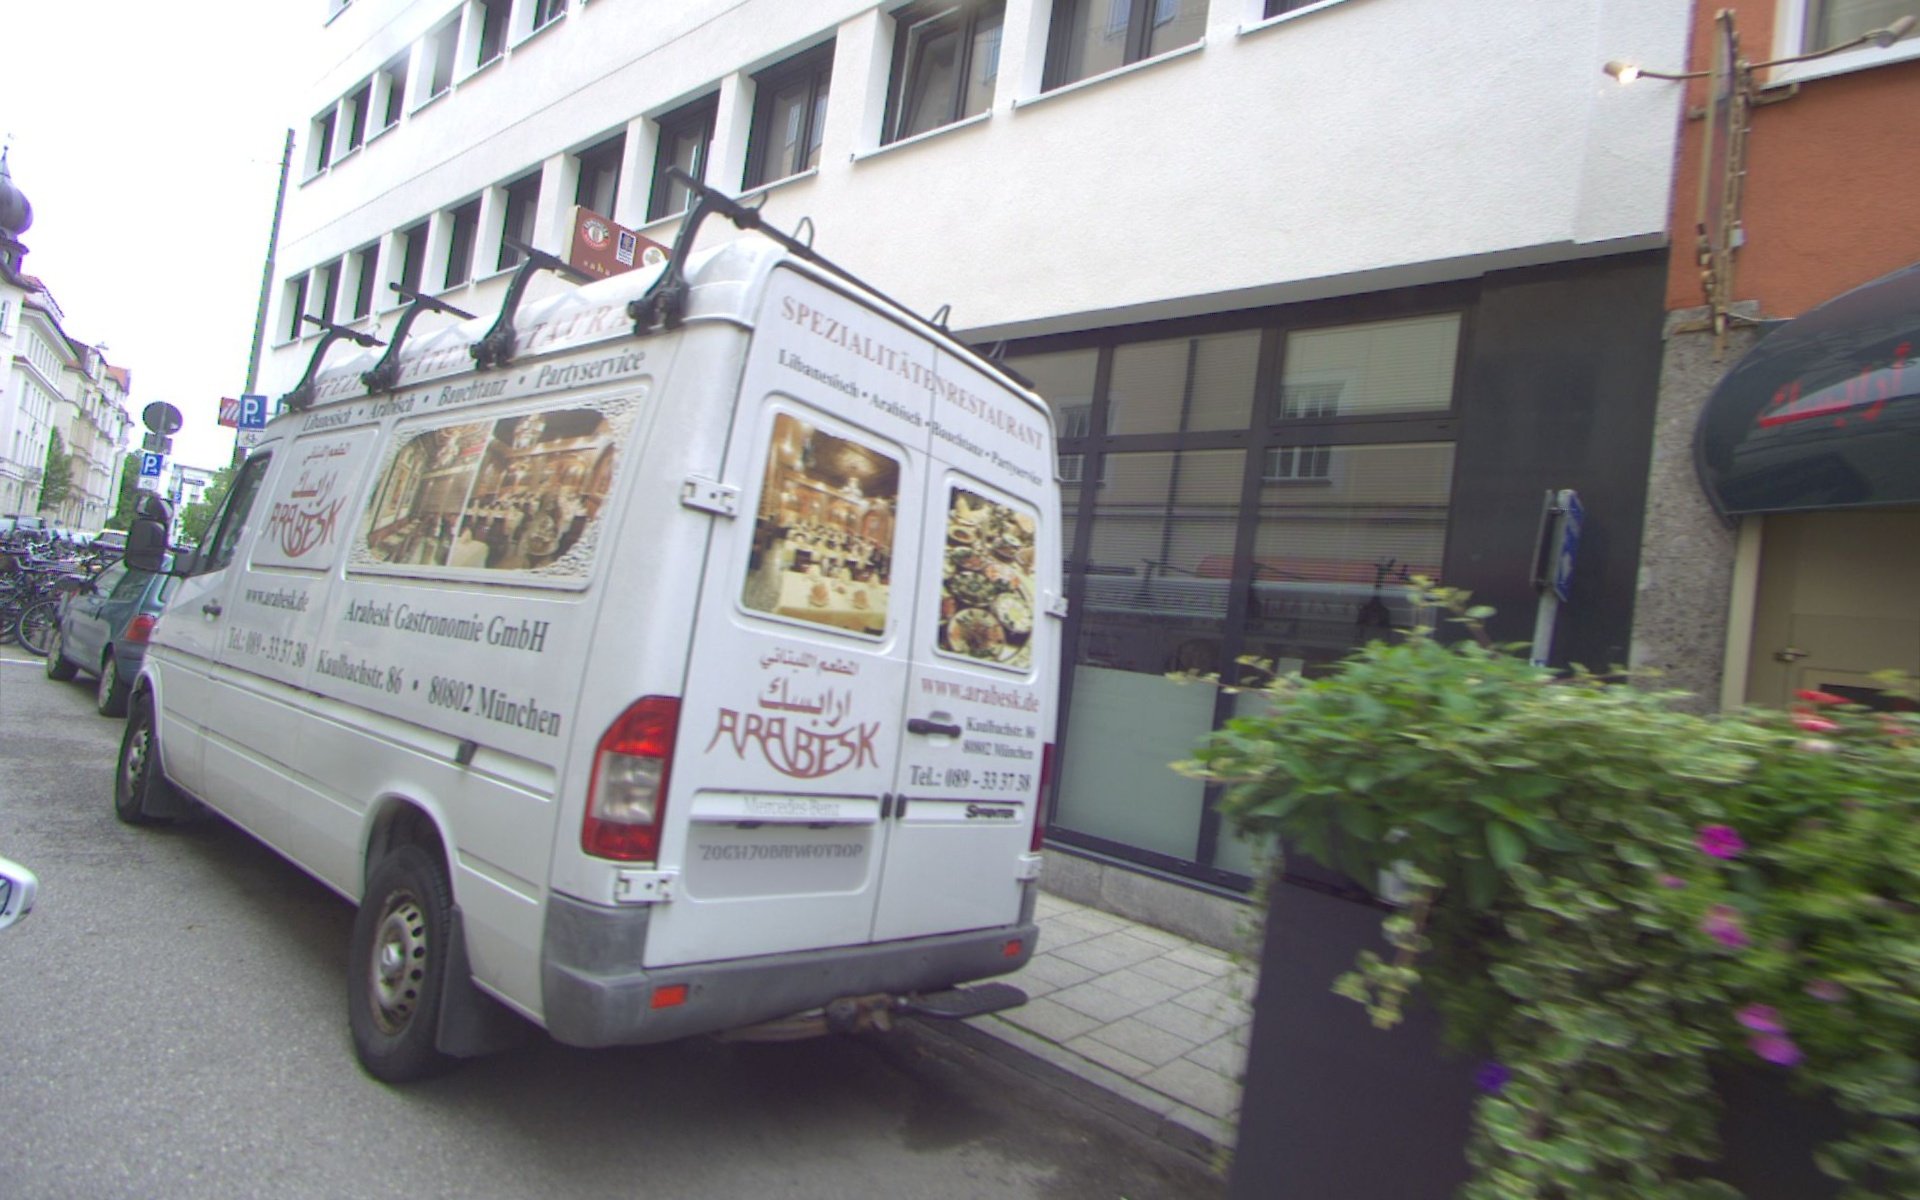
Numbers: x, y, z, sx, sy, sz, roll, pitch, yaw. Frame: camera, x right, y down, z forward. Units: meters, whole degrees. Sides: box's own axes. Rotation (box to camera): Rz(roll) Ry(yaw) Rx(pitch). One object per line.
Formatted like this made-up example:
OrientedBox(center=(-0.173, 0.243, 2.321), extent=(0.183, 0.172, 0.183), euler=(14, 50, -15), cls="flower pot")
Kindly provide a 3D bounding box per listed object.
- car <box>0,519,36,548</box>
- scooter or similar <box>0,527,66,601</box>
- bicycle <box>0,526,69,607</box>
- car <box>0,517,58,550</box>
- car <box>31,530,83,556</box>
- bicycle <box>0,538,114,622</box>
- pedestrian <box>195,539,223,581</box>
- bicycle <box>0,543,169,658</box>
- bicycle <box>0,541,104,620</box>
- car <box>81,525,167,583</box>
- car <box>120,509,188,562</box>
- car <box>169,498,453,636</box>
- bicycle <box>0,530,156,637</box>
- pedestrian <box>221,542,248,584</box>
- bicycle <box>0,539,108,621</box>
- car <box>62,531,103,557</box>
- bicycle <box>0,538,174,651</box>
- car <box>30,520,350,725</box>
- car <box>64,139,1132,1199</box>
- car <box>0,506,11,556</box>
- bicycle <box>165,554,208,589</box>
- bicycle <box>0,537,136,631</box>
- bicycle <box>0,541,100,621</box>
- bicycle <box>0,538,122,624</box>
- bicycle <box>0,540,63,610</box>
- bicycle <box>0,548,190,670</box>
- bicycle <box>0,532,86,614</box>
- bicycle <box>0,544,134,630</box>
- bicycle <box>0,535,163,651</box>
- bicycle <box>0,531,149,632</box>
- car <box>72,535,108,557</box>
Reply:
OrientedBox(center=(-48.647, -3.473, 51.047), extent=(1.897, 1.235, 3.965), euler=(10, -4, -34), cls="car")
OrientedBox(center=(-17.404, -0.690, 18.435), extent=(0.412, 1.223, 1.352), euler=(6, -4, 43), cls="scooter or similar")
OrientedBox(center=(-16.887, -0.634, 17.835), extent=(0.439, 1.299, 1.456), euler=(6, -4, 42), cls="bicycle")
OrientedBox(center=(-50.895, -3.610, 54.827), extent=(1.897, 1.343, 3.965), euler=(10, -4, -34), cls="car")
OrientedBox(center=(-57.708, -3.623, 64.367), extent=(1.898, 1.235, 3.963), euler=(10, -4, -36), cls="car")
OrientedBox(center=(-14.369, -0.338, 15.516), extent=(0.402, 1.091, 1.875), euler=(8, -3, 38), cls="bicycle")
OrientedBox(center=(-35.936, -1.913, 48.166), extent=(0.774, 1.871, 1.014), euler=(9, -3, -34), cls="pedestrian")
OrientedBox(center=(-10.863, -0.001, 12.136), extent=(0.481, 1.119, 1.876), euler=(8, -4, 39), cls="bicycle")
OrientedBox(center=(-15.218, -0.345, 16.407), extent=(0.445, 1.092, 1.742), euler=(8, -3, 38), cls="bicycle")
OrientedBox(center=(-30.427, -1.650, 36.736), extent=(1.812, 1.652, 4.251), euler=(12, -5, -34), cls="car")
OrientedBox(center=(-36.246, -2.856, 45.329), extent=(1.812, 1.889, 4.251), euler=(12, -5, -34), cls="car")
OrientedBox(center=(-17.195, -0.799, 26.945), extent=(5.884, 2.619, 2.034), euler=(11, -3, -44), cls="car")
OrientedBox(center=(-12.146, -0.223, 13.547), extent=(0.571, 1.218, 1.874), euler=(6, -2, 39), cls="bicycle")
OrientedBox(center=(-34.882, -1.770, 48.388), extent=(0.774, 1.871, 1.014), euler=(9, -3, -34), cls="pedestrian")
OrientedBox(center=(-14.618, -0.332, 15.893), extent=(0.372, 1.092, 1.614), euler=(8, -3, 38), cls="bicycle")
OrientedBox(center=(-64.291, -4.100, 73.751), extent=(1.813, 1.591, 3.960), euler=(10, -4, -37), cls="car")
OrientedBox(center=(-11.580, -0.064, 13.115), extent=(0.557, 1.169, 1.876), euler=(8, -4, 39), cls="bicycle")
OrientedBox(center=(-7.467, 0.163, 9.655), extent=(3.501, 1.480, 1.581), euler=(6, -4, 40), cls="car")
OrientedBox(center=(-2.371, 0.133, 4.900), extent=(5.912, 2.532, 1.921), euler=(6, -4, 41), cls="car")
OrientedBox(center=(-31.537, -2.331, 31.486), extent=(1.948, 1.625, 4.268), euler=(10, -3, -36), cls="car")
OrientedBox(center=(-26.836, -0.988, 34.883), extent=(1.726, 1.011, 0.539), euler=(6, 0, 32), cls="bicycle")
OrientedBox(center=(-13.031, -0.241, 14.293), extent=(0.433, 1.107, 1.875), euler=(8, -3, 38), cls="bicycle")
OrientedBox(center=(-14.950, -0.326, 16.093), extent=(0.331, 1.092, 1.676), euler=(8, -3, 38), cls="bicycle")
OrientedBox(center=(-14.023, -0.314, 15.256), extent=(0.396, 1.091, 1.875), euler=(8, -3, 38), cls="bicycle")
OrientedBox(center=(-16.283, -0.477, 17.029), extent=(0.456, 1.081, 1.454), euler=(7, -4, 34), cls="bicycle")
OrientedBox(center=(-10.095, 0.111, 11.487), extent=(0.481, 1.090, 1.877), euler=(8, -5, 39), cls="bicycle")
OrientedBox(center=(-15.790, -0.478, 16.914), extent=(0.389, 1.220, 1.454), euler=(7, -4, 34), cls="bicycle")
OrientedBox(center=(-13.493, -0.205, 14.825), extent=(0.556, 1.063, 1.875), euler=(4, -5, 38), cls="bicycle")
OrientedBox(center=(-11.219, -0.087, 12.500), extent=(0.481, 1.217, 1.875), euler=(8, -3, 39), cls="bicycle")
OrientedBox(center=(-12.601, -0.260, 13.966), extent=(0.557, 1.183, 1.894), euler=(6, -3, 38), cls="bicycle")
OrientedBox(center=(-67.851, -4.210, 78.463), extent=(1.727, 1.435, 3.960), euler=(10, -4, -38), cls="car")
